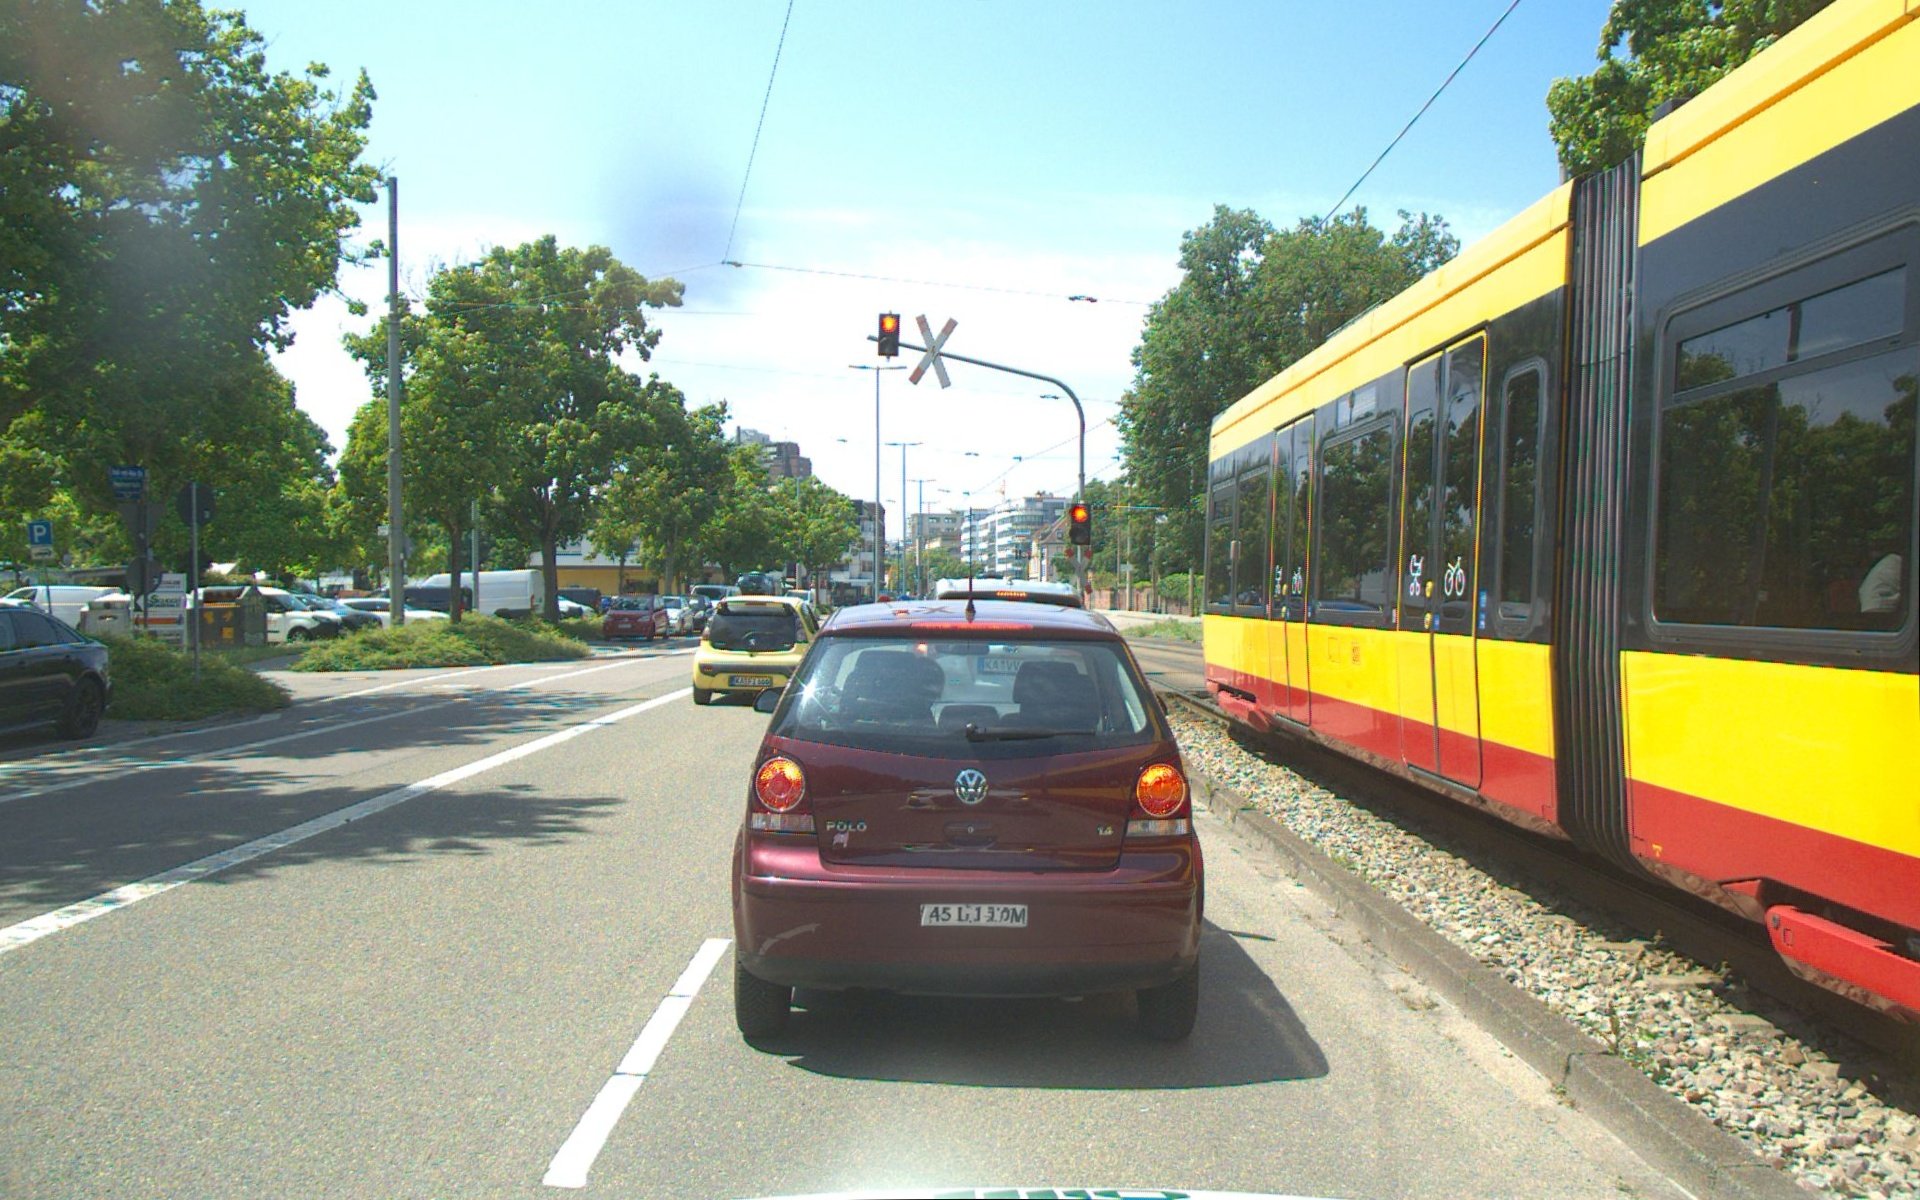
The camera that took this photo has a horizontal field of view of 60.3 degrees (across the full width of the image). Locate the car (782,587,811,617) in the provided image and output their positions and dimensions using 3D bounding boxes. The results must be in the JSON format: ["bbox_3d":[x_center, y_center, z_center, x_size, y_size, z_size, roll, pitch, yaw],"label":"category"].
[{"bbox_3d":[-10.604,0.146,107.338,1.741,1.860,3.995,2,-1,-6],"label":"car"}]

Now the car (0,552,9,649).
[{"bbox_3d":[-33.110,-0.095,50.382,6.714,3.017,2.363,2,-1,-2],"label":"car"}]

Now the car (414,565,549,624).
[{"bbox_3d":[-20.353,-0.229,70.552,4.993,2.283,2.378,2,-1,0],"label":"car"}]

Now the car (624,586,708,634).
[{"bbox_3d":[-10.744,0.392,60.771,1.934,1.629,4.560,2,-1,4],"label":"car"}]

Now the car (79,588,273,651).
[{"bbox_3d":[-20.937,0.505,44.325,4.256,1.612,1.912,-1,0,-3],"label":"car"}]

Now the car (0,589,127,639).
[{"bbox_3d":[-32.841,0.496,60.349,3.913,1.682,1.812,2,-1,-9],"label":"car"}]

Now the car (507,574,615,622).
[{"bbox_3d":[-20.922,-0.088,86.962,4.993,2.283,2.378,2,-1,0],"label":"car"}]

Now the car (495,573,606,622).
[{"bbox_3d":[-20.868,-0.109,84.409,4.993,2.283,2.378,2,-1,0],"label":"car"}]

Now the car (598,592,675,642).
[{"bbox_3d":[-10.549,0.551,54.224,1.628,1.523,4.000,2,-1,1],"label":"car"}]

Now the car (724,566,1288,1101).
[{"bbox_3d":[0.092,0.691,6.914,1.638,1.548,3.999,2,0,-2],"label":"car"}]

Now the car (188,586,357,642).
[{"bbox_3d":[-20.457,0.409,49.308,4.251,1.612,1.914,-1,0,5],"label":"car"}]

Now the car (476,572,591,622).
[{"bbox_3d":[-21.081,-0.138,81.934,4.993,2.283,2.378,2,-1,0],"label":"car"}]

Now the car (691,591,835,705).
[{"bbox_3d":[-2.702,0.622,23.320,1.656,1.435,3.514,2,0,-2],"label":"car"}]

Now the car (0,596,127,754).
[{"bbox_3d":[-10.303,0.737,16.477,1.782,1.502,4.448,2,0,-1],"label":"car"}]

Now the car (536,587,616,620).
[{"bbox_3d":[-21.207,0.189,91.404,3.938,1.645,1.816,2,-1,0],"label":"car"}]

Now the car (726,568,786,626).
[{"bbox_3d":[-10.316,-0.125,84.062,2.313,2.739,5.307,2,-1,0],"label":"car"}]

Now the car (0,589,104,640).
[{"bbox_3d":[-32.464,0.488,57.946,3.913,1.682,1.812,2,-1,-9],"label":"car"}]

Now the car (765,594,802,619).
[{"bbox_3d":[-10.781,0.404,101.121,1.581,1.466,4.001,2,-1,3],"label":"car"}]

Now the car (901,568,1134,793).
[{"bbox_3d":[0.388,0.601,14.632,1.741,1.676,3.999,2,0,-2],"label":"car"}]

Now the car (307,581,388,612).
[{"bbox_3d":[-35.337,-0.198,95.429,3.939,1.645,1.816,2,-1,-2],"label":"car"}]

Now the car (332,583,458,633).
[{"bbox_3d":[-20.517,0.276,60.174,3.906,1.776,1.998,-1,0,-2],"label":"car"}]

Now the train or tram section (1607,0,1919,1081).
[{"bbox_3d":[4.040,-0.446,1.249,2.685,3.672,10.949,2,0,0],"label":"train or tram section"}]

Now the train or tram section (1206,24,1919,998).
[{"bbox_3d":[3.976,-0.349,11.783,2.685,3.672,10.949,2,0,0],"label":"train or tram section"}]

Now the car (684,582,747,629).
[{"bbox_3d":[-10.458,0.250,71.015,1.746,1.914,4.787,2,-1,2],"label":"car"}]

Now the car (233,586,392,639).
[{"bbox_3d":[-20.375,0.388,52.143,4.251,1.612,1.914,-1,0,5],"label":"car"}]
